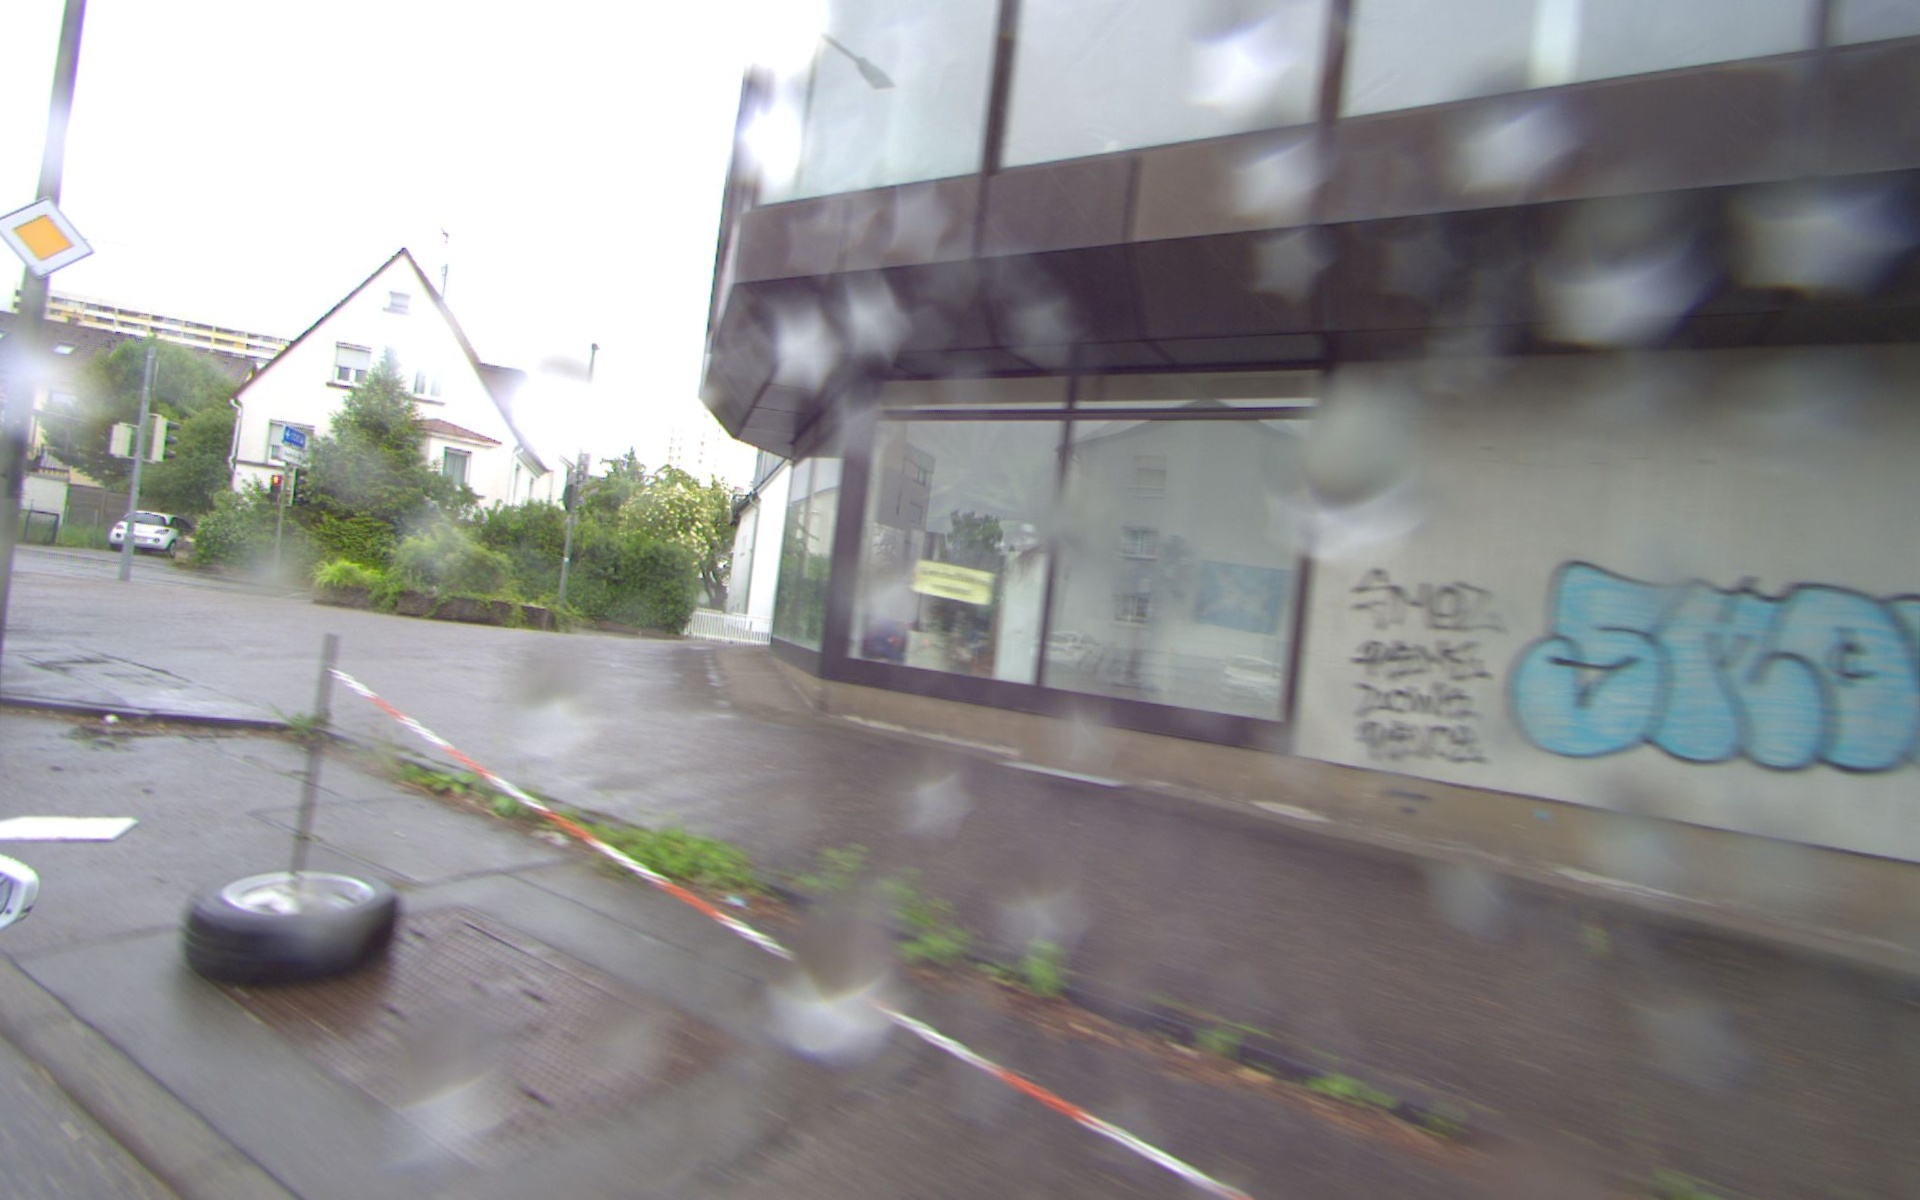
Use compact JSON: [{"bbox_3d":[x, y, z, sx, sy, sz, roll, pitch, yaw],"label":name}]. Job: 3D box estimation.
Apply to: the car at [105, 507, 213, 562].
[{"bbox_3d":[-28.024,-2.249,35.345,1.722,1.532,3.981,9,-1,-21],"label":"car"}]
